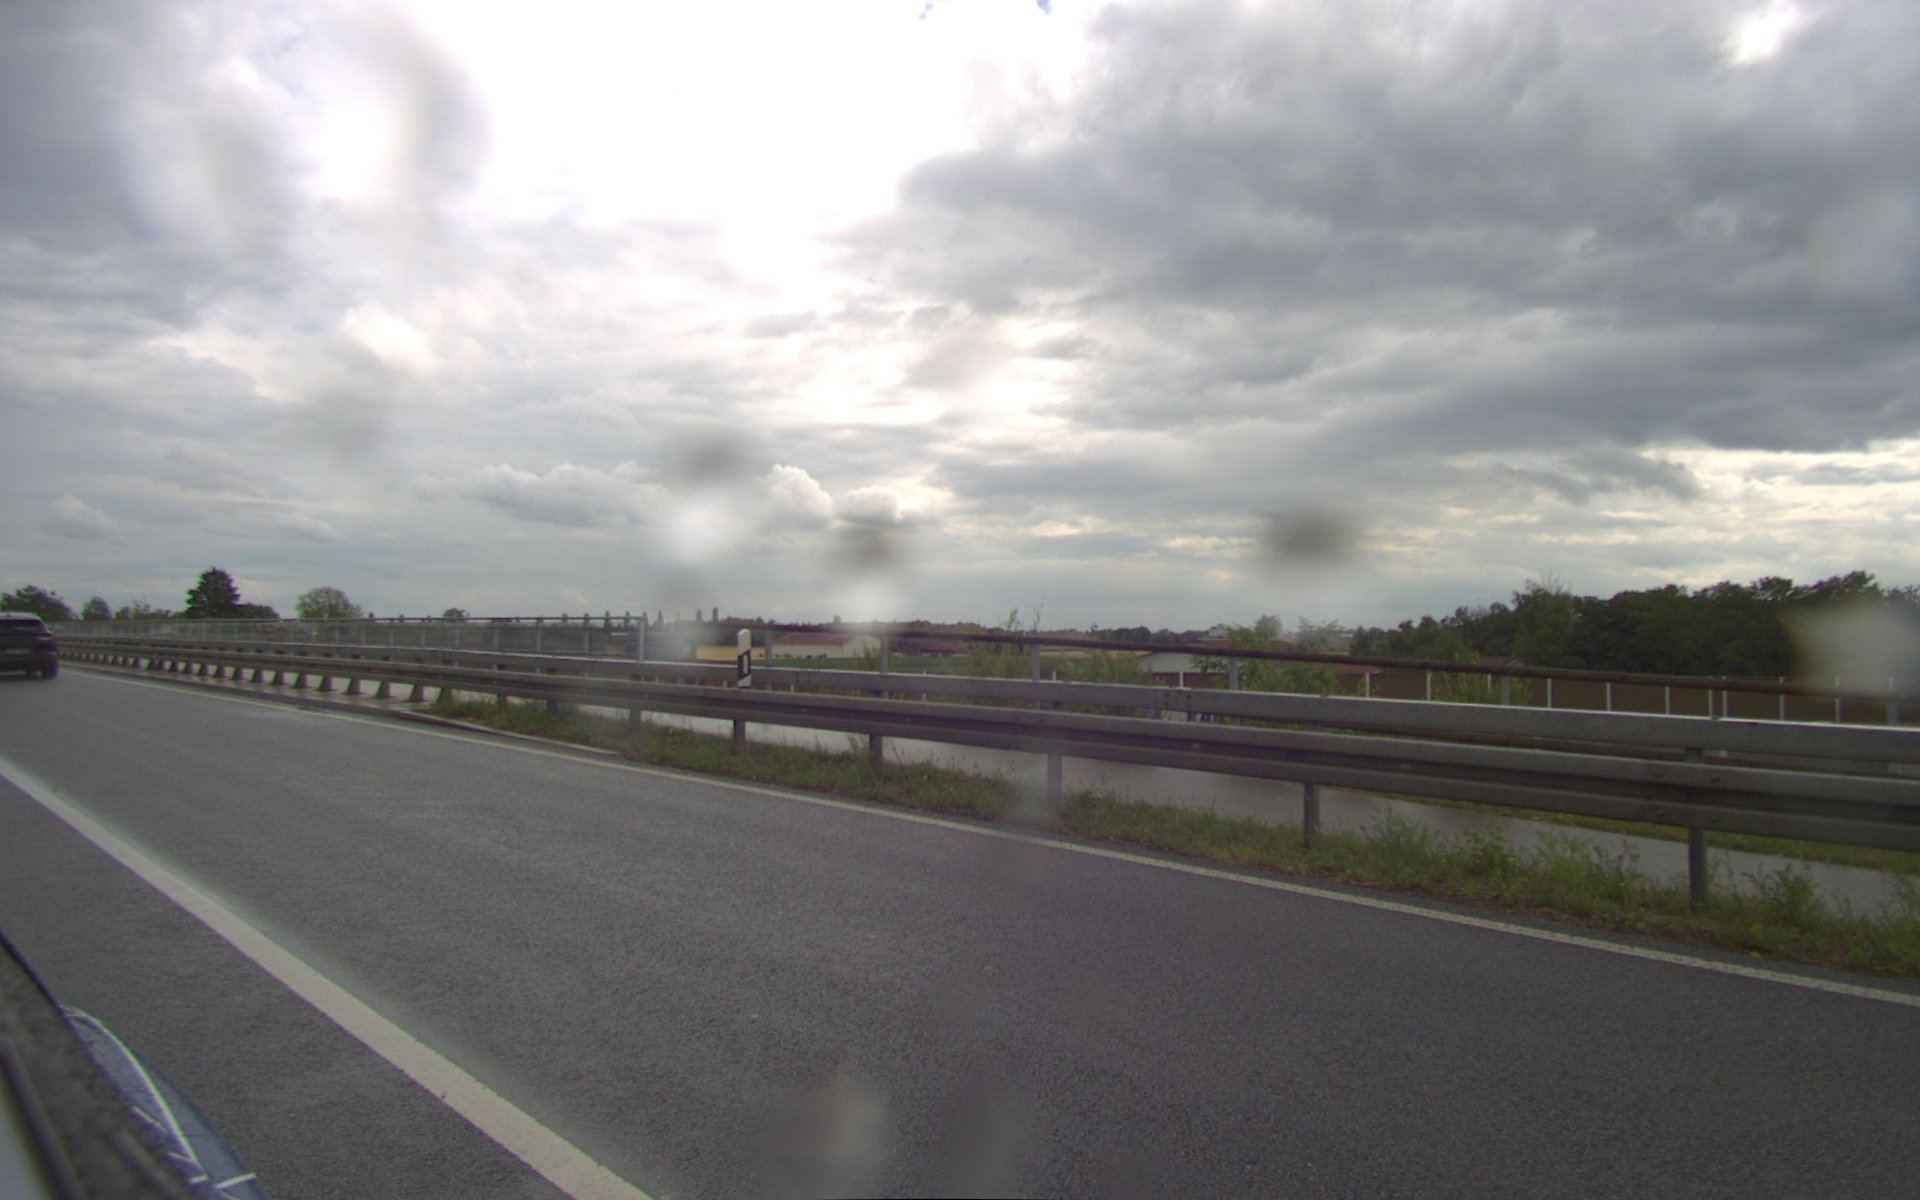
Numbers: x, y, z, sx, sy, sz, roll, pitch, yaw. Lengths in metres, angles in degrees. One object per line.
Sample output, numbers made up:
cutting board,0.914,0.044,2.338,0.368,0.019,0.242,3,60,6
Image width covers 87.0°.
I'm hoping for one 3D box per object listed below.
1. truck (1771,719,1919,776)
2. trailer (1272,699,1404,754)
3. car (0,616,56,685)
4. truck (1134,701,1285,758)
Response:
truck,69.439,11.420,78.749,11.002,3.791,2.439,-1,-1,-4
trailer,29.253,9.771,78.570,9.316,3.791,2.439,-1,-1,-4
car,-23.623,1.208,24.760,4.300,1.573,1.761,-2,-1,41
truck,19.131,9.944,77.900,11.002,3.791,2.439,-1,-1,-4
